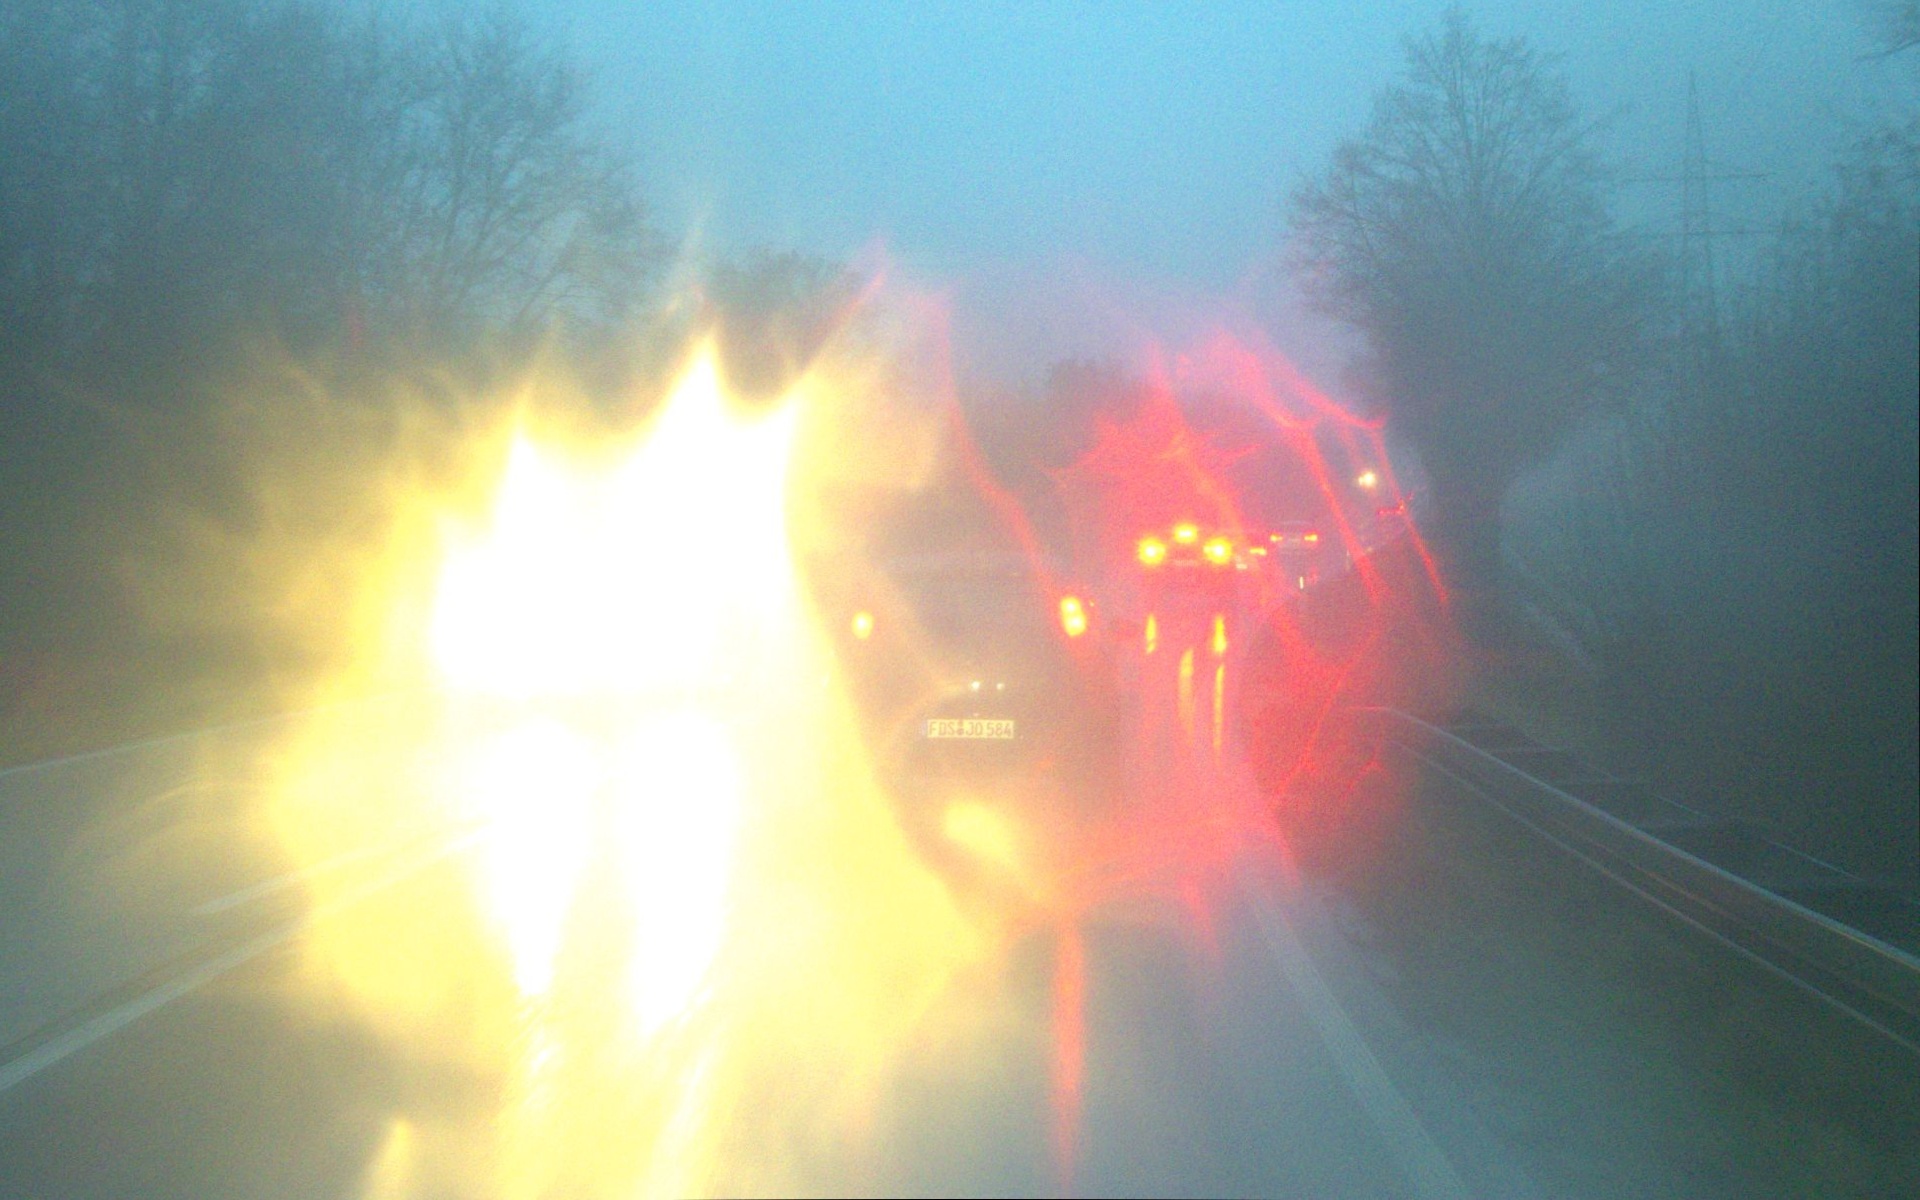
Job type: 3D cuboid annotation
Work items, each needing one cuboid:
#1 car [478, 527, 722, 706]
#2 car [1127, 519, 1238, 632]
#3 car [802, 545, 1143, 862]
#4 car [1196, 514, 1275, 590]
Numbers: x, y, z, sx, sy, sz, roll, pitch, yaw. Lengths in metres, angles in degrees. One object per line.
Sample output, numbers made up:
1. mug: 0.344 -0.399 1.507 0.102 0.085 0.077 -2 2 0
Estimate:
1. car: -3.337 0.111 32.509 1.700 1.570 4.000 -1 1 3
2. car: 4.482 -0.527 69.680 1.946 2.006 4.000 -6 2 3
3. car: 0.098 0.525 20.435 1.730 1.527 4.042 -4 2 1
4. car: 7.288 -1.294 91.247 1.946 1.738 4.001 0 5 3
